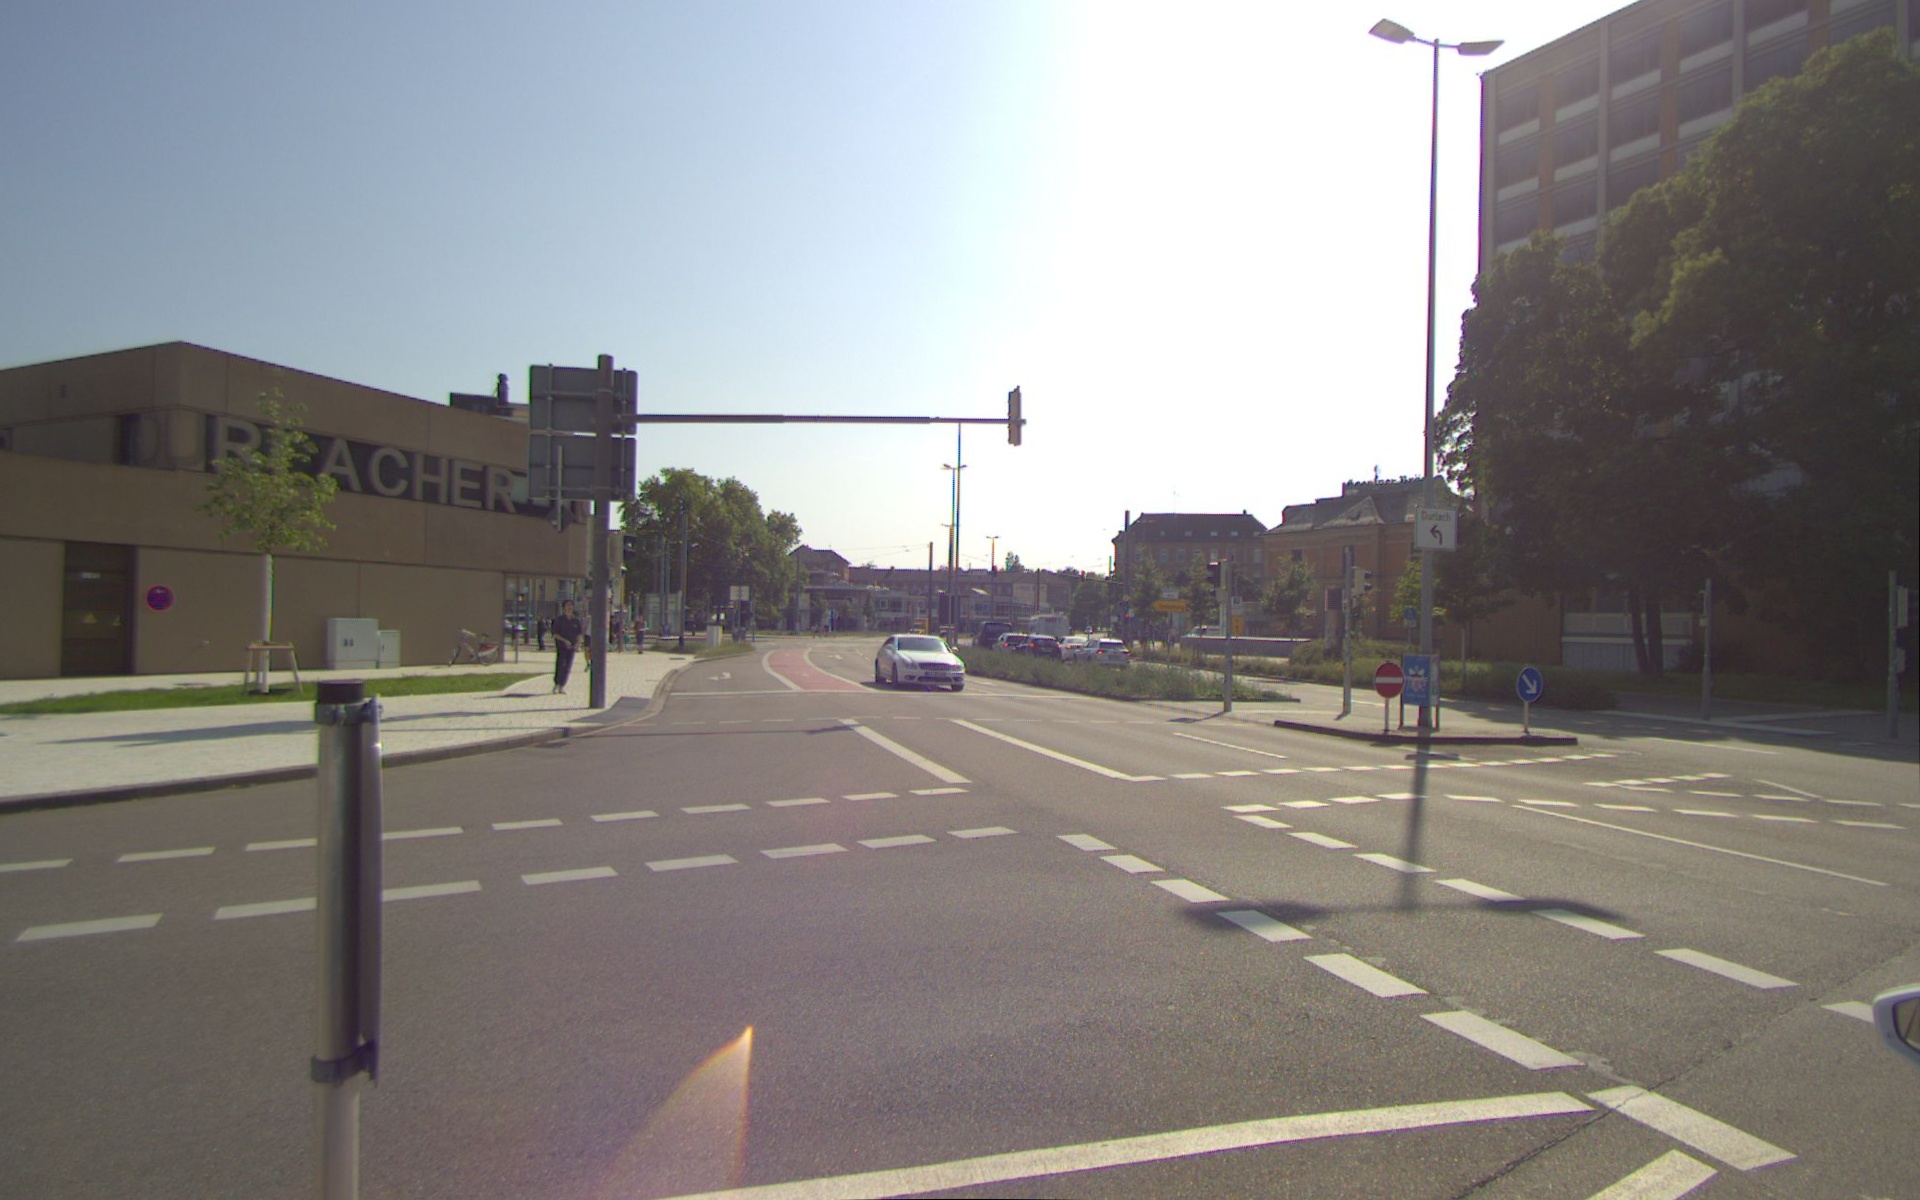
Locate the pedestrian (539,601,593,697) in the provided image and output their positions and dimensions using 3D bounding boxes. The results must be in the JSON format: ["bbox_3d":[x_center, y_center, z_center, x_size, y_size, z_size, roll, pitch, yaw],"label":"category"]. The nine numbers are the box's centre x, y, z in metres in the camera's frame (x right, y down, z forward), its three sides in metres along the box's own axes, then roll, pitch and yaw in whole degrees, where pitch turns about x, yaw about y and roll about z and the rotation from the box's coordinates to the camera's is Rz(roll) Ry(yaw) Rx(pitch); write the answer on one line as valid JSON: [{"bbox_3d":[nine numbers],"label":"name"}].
[{"bbox_3d":[-7.948,0.968,20.248,0.723,1.864,1.071,2,0,-36],"label":"pedestrian"}]

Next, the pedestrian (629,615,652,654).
[{"bbox_3d":[-14.865,1.618,46.731,0.673,1.783,0.868,2,-2,-40],"label":"pedestrian"}]

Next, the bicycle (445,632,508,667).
[{"bbox_3d":[-14.313,1.454,29.755,0.648,0.968,1.612,3,-1,23],"label":"bicycle"}]

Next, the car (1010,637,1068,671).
[{"bbox_3d":[3.482,2.393,45.165,1.676,1.386,3.958,2,-2,-9],"label":"car"}]

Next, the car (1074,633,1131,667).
[{"bbox_3d":[6.342,2.233,44.976,1.659,1.405,3.631,2,-2,-6],"label":"car"}]

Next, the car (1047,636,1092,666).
[{"bbox_3d":[5.572,2.598,51.456,1.466,1.421,3.939,2,-2,-6],"label":"car"}]

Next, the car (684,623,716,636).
[{"bbox_3d":[-33.420,3.776,129.241,3.934,1.639,1.807,2,-1,-16],"label":"car"}]

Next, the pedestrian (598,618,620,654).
[{"bbox_3d":[-17.979,1.845,51.459,0.839,1.802,0.869,2,1,-33],"label":"pedestrian"}]

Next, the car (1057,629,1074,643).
[{"bbox_3d":[15.990,5.443,151.726,2.371,2.040,4.782,1,-1,8],"label":"car"}]

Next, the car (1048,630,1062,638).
[{"bbox_3d":[18.963,6.688,199.570,1.960,1.461,4.002,1,-2,17],"label":"car"}]

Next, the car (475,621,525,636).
[{"bbox_3d":[-40.502,2.548,88.545,3.779,1.195,1.571,2,-4,-17],"label":"car"}]

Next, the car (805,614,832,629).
[{"bbox_3d":[-21.590,3.256,153.247,3.927,2.040,1.997,2,1,-9],"label":"car"}]

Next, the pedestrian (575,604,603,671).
[{"bbox_3d":[-10.448,1.060,28.288,0.685,1.857,0.567,1,-1,-22],"label":"pedestrian"}]

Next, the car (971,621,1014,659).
[{"bbox_3d":[1.861,2.327,58.476,1.991,2.034,4.682,2,-2,-4],"label":"car"}]

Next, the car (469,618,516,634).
[{"bbox_3d":[-42.338,2.363,91.043,3.692,1.411,1.580,2,-2,-20],"label":"car"}]

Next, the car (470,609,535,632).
[{"bbox_3d":[-43.980,2.020,96.714,5.478,2.040,1.991,2,-1,-21],"label":"car"}]

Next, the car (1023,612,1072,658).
[{"bbox_3d":[5.197,2.127,60.367,2.154,2.582,4.682,2,-2,-4],"label":"car"}]

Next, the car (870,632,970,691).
[{"bbox_3d":[-1.201,1.604,27.284,1.816,1.379,4.807,2,-2,-13],"label":"car"}]

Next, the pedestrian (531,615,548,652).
[{"bbox_3d":[-18.445,1.468,44.080,0.489,1.601,0.507,2,1,-5],"label":"pedestrian"}]
